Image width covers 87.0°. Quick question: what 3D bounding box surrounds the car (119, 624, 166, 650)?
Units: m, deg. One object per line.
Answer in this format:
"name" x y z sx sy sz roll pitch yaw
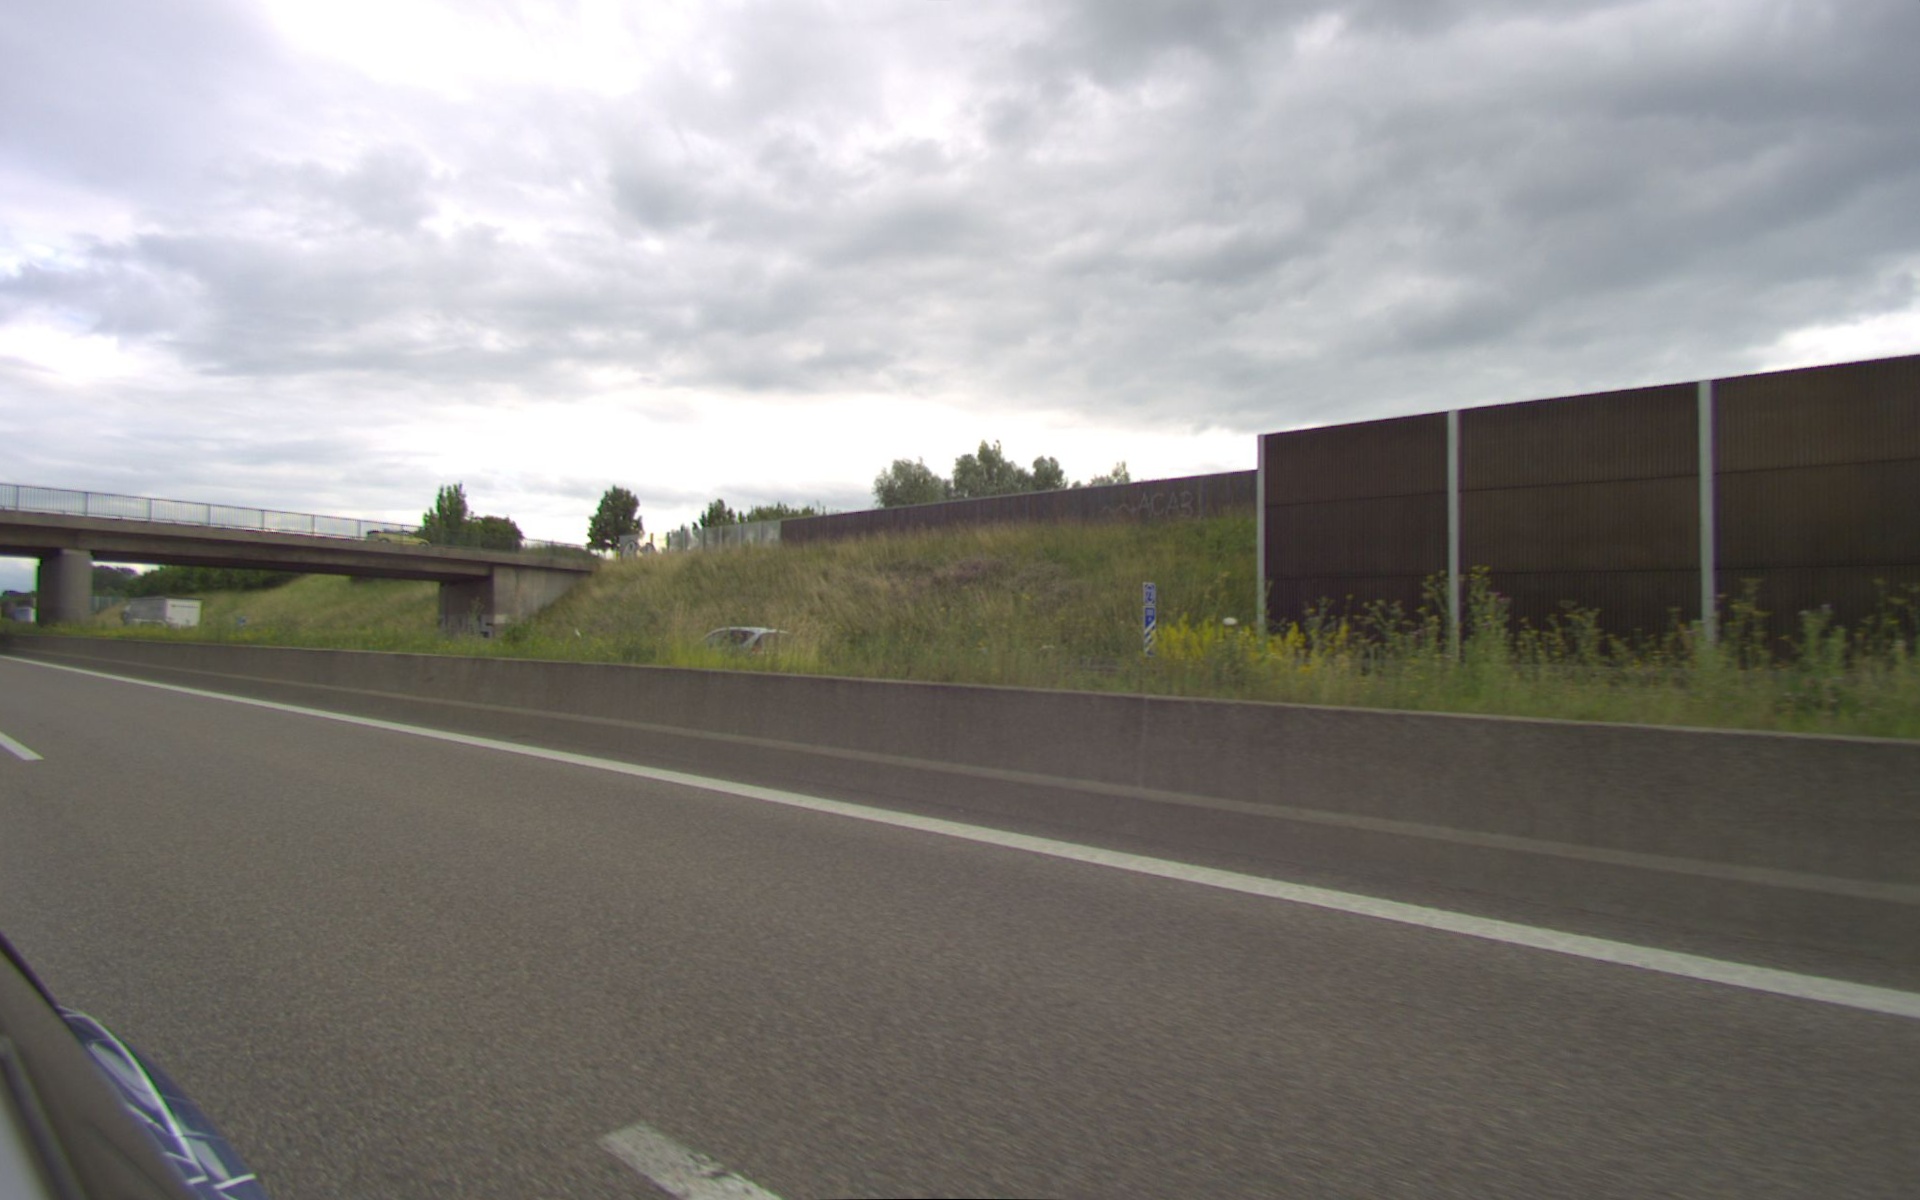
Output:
"car" -60.192 2.755 74.486 4.716 1.843 1.709 -2 -3 39

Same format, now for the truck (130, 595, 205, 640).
"truck" -70.104 1.566 89.399 13.003 3.712 2.966 -1 -1 42

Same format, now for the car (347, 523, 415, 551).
"car" -35.577 -3.846 62.251 1.654 1.458 3.306 -1 -1 30

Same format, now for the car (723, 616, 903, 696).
"car" -3.637 1.321 24.502 4.720 1.764 1.708 -2 -3 42

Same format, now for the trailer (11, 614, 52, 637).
"trailer" -132.484 3.626 144.317 13.965 2.978 2.890 -1 0 42
